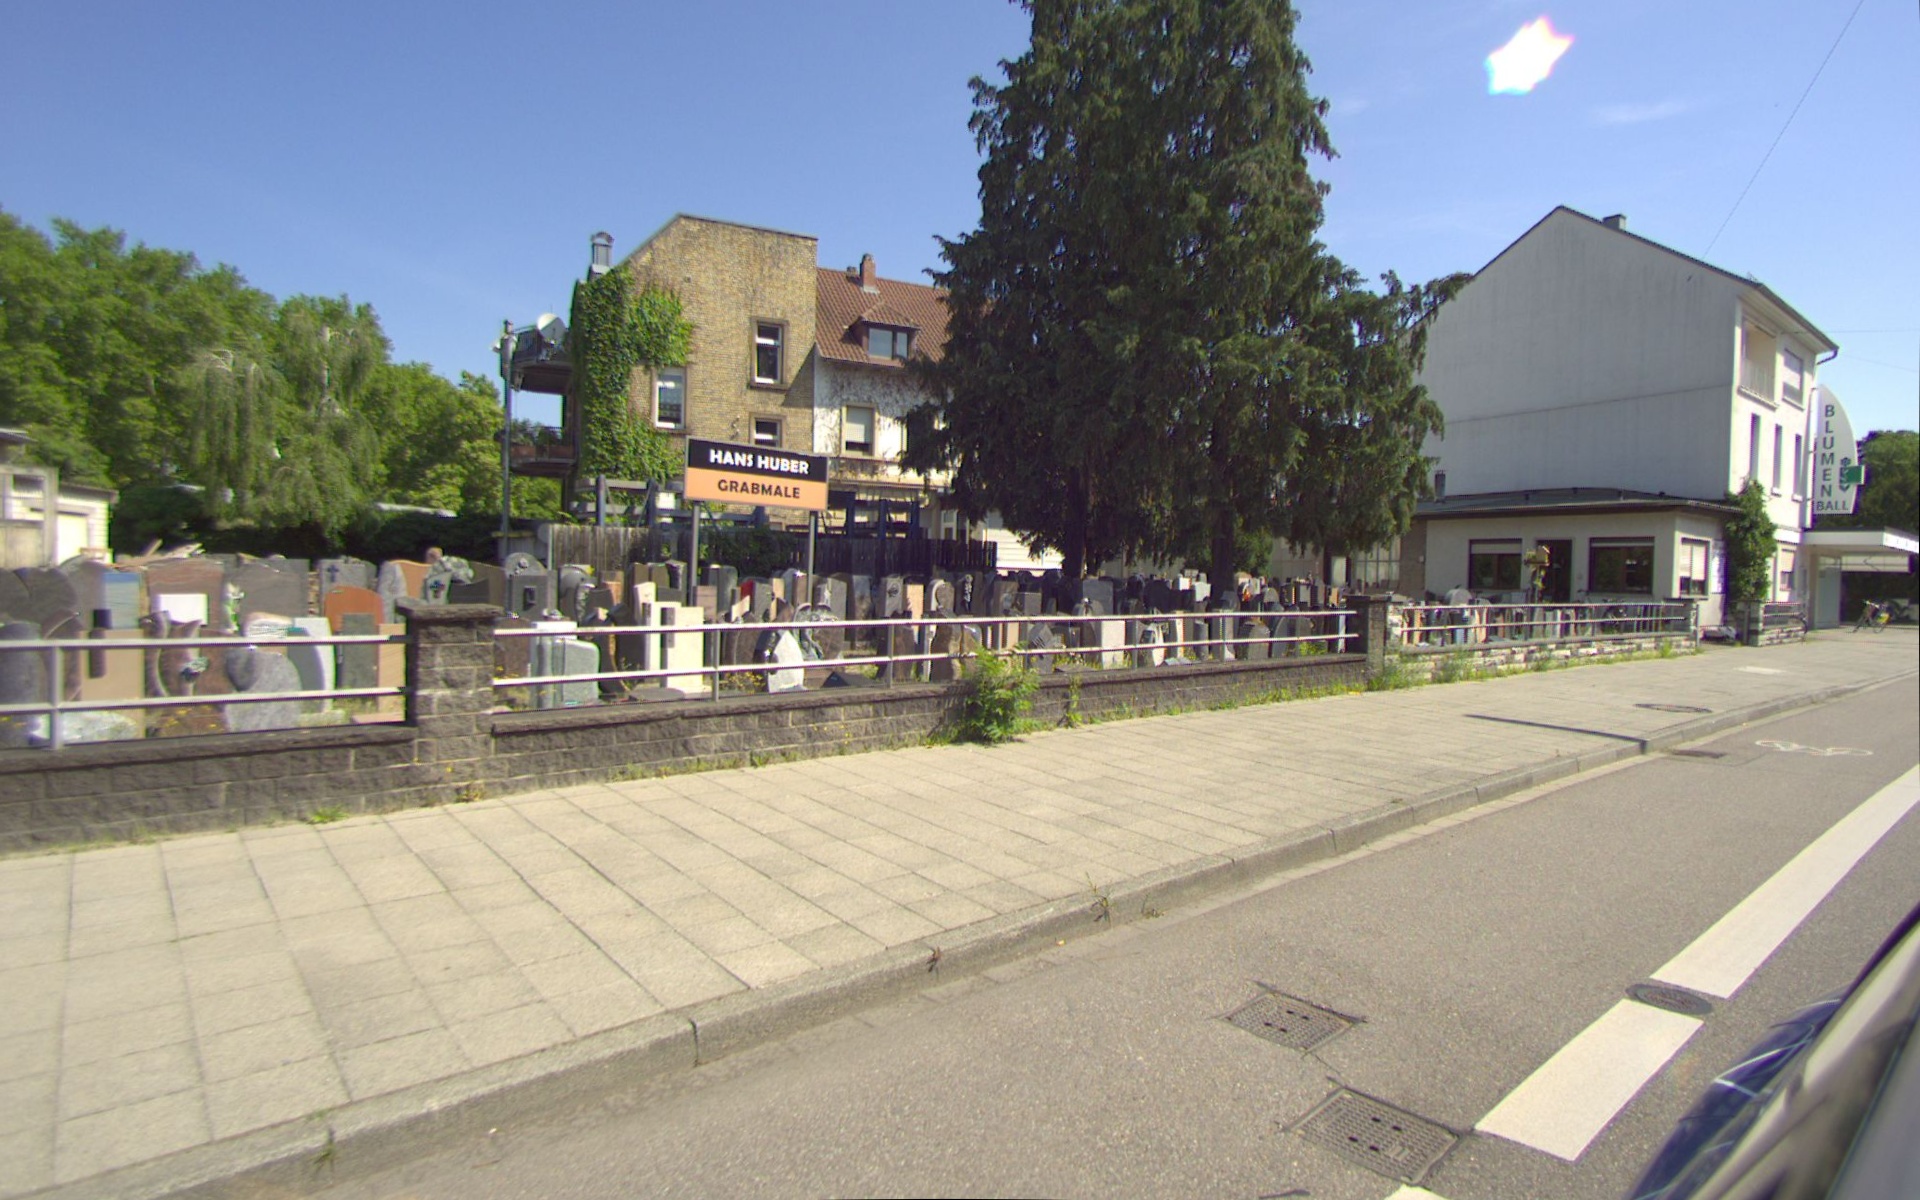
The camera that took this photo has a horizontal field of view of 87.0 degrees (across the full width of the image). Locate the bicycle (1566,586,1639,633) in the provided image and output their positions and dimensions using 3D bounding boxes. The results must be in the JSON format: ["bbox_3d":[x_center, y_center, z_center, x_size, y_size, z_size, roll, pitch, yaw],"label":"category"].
[{"bbox_3d":[16.918,0.227,26.682,0.503,1.124,1.695,2,2,-15],"label":"bicycle"}]

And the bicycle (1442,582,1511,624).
[{"bbox_3d":[15.118,0.077,29.662,0.503,1.124,1.690,1,2,-37],"label":"bicycle"}]

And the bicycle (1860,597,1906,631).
[{"bbox_3d":[32.477,0.497,35.622,1.655,1.148,0.513,1,1,-23],"label":"bicycle"}]

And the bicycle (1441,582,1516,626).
[{"bbox_3d":[14.637,0.101,28.609,0.502,1.124,1.798,1,2,-35],"label":"bicycle"}]

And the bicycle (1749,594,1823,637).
[{"bbox_3d":[23.668,0.428,29.019,0.390,1.069,1.532,1,4,-38],"label":"bicycle"}]
